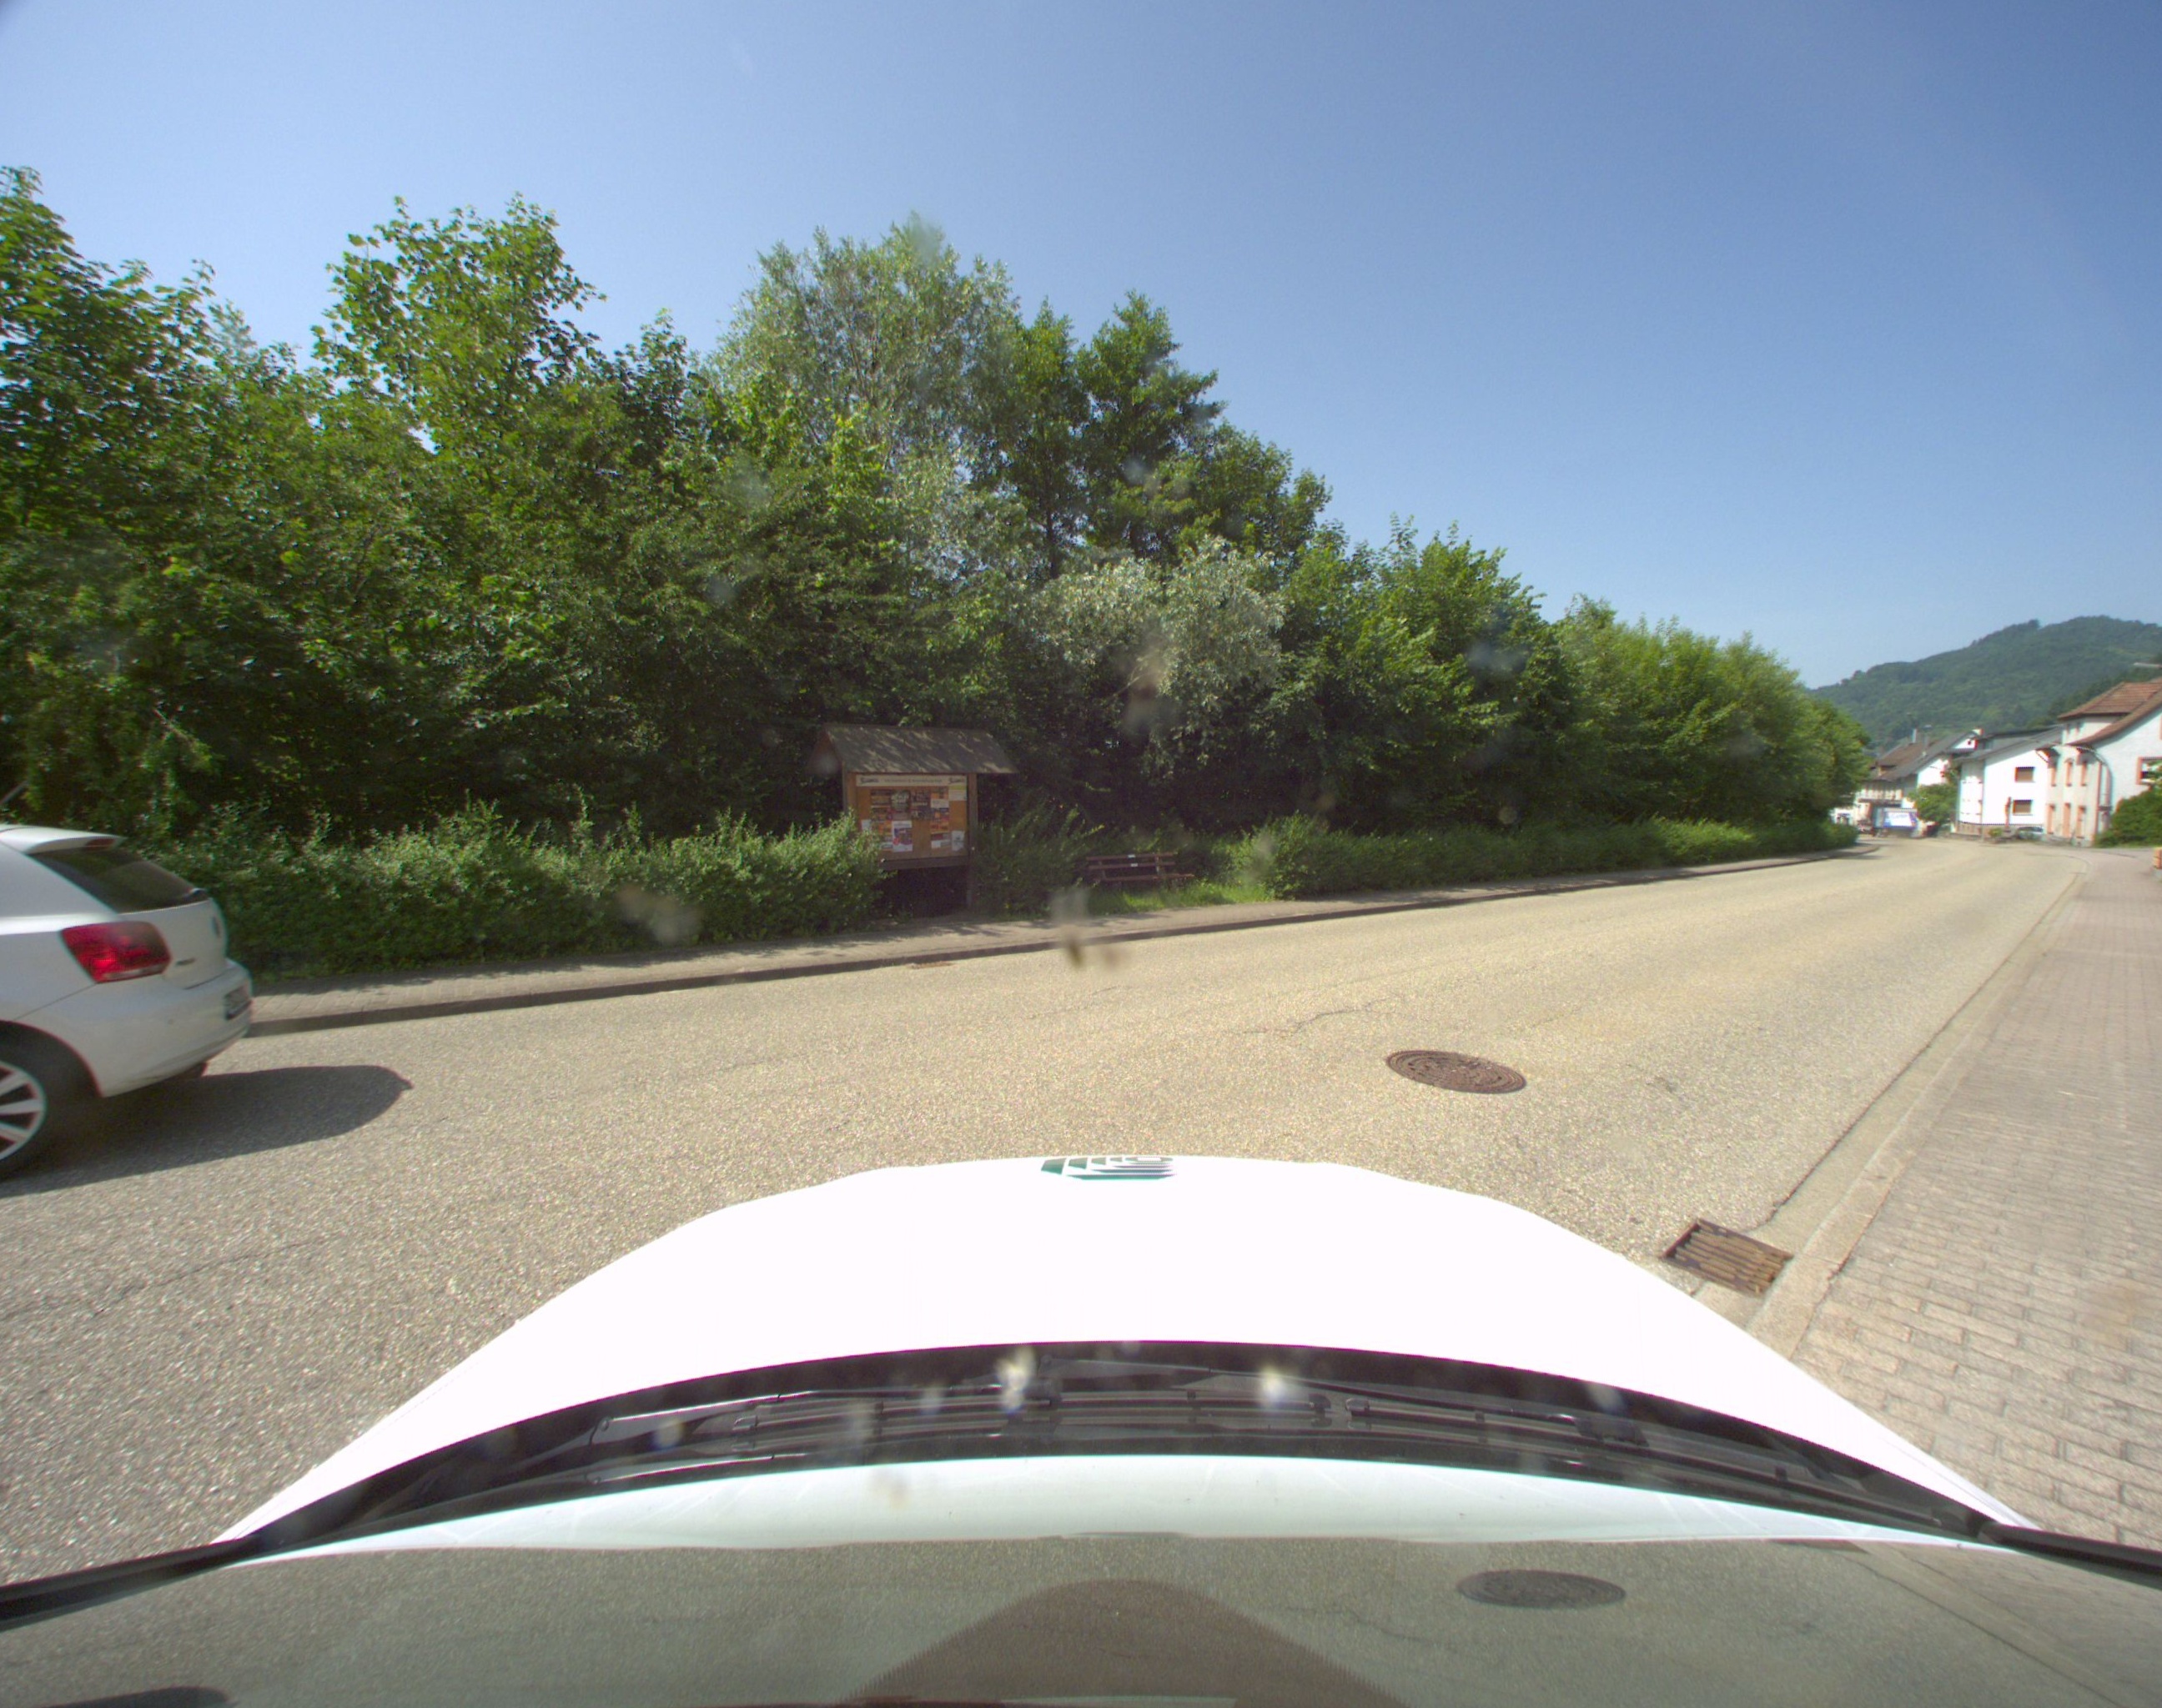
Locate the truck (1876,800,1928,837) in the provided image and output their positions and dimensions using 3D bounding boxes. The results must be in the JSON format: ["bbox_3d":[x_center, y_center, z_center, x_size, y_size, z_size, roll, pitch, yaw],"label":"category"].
[{"bbox_3d":[91.691,-3.863,91.103,3.331,3.782,8.492,-2,-1,41],"label":"truck"}]

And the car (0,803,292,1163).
[{"bbox_3d":[-5.711,0.508,3.014,3.845,1.405,1.592,0,0,-38],"label":"car"}]

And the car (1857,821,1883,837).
[{"bbox_3d":[105.409,-3.313,108.863,1.974,1.882,4.025,-1,-1,37],"label":"car"}]
